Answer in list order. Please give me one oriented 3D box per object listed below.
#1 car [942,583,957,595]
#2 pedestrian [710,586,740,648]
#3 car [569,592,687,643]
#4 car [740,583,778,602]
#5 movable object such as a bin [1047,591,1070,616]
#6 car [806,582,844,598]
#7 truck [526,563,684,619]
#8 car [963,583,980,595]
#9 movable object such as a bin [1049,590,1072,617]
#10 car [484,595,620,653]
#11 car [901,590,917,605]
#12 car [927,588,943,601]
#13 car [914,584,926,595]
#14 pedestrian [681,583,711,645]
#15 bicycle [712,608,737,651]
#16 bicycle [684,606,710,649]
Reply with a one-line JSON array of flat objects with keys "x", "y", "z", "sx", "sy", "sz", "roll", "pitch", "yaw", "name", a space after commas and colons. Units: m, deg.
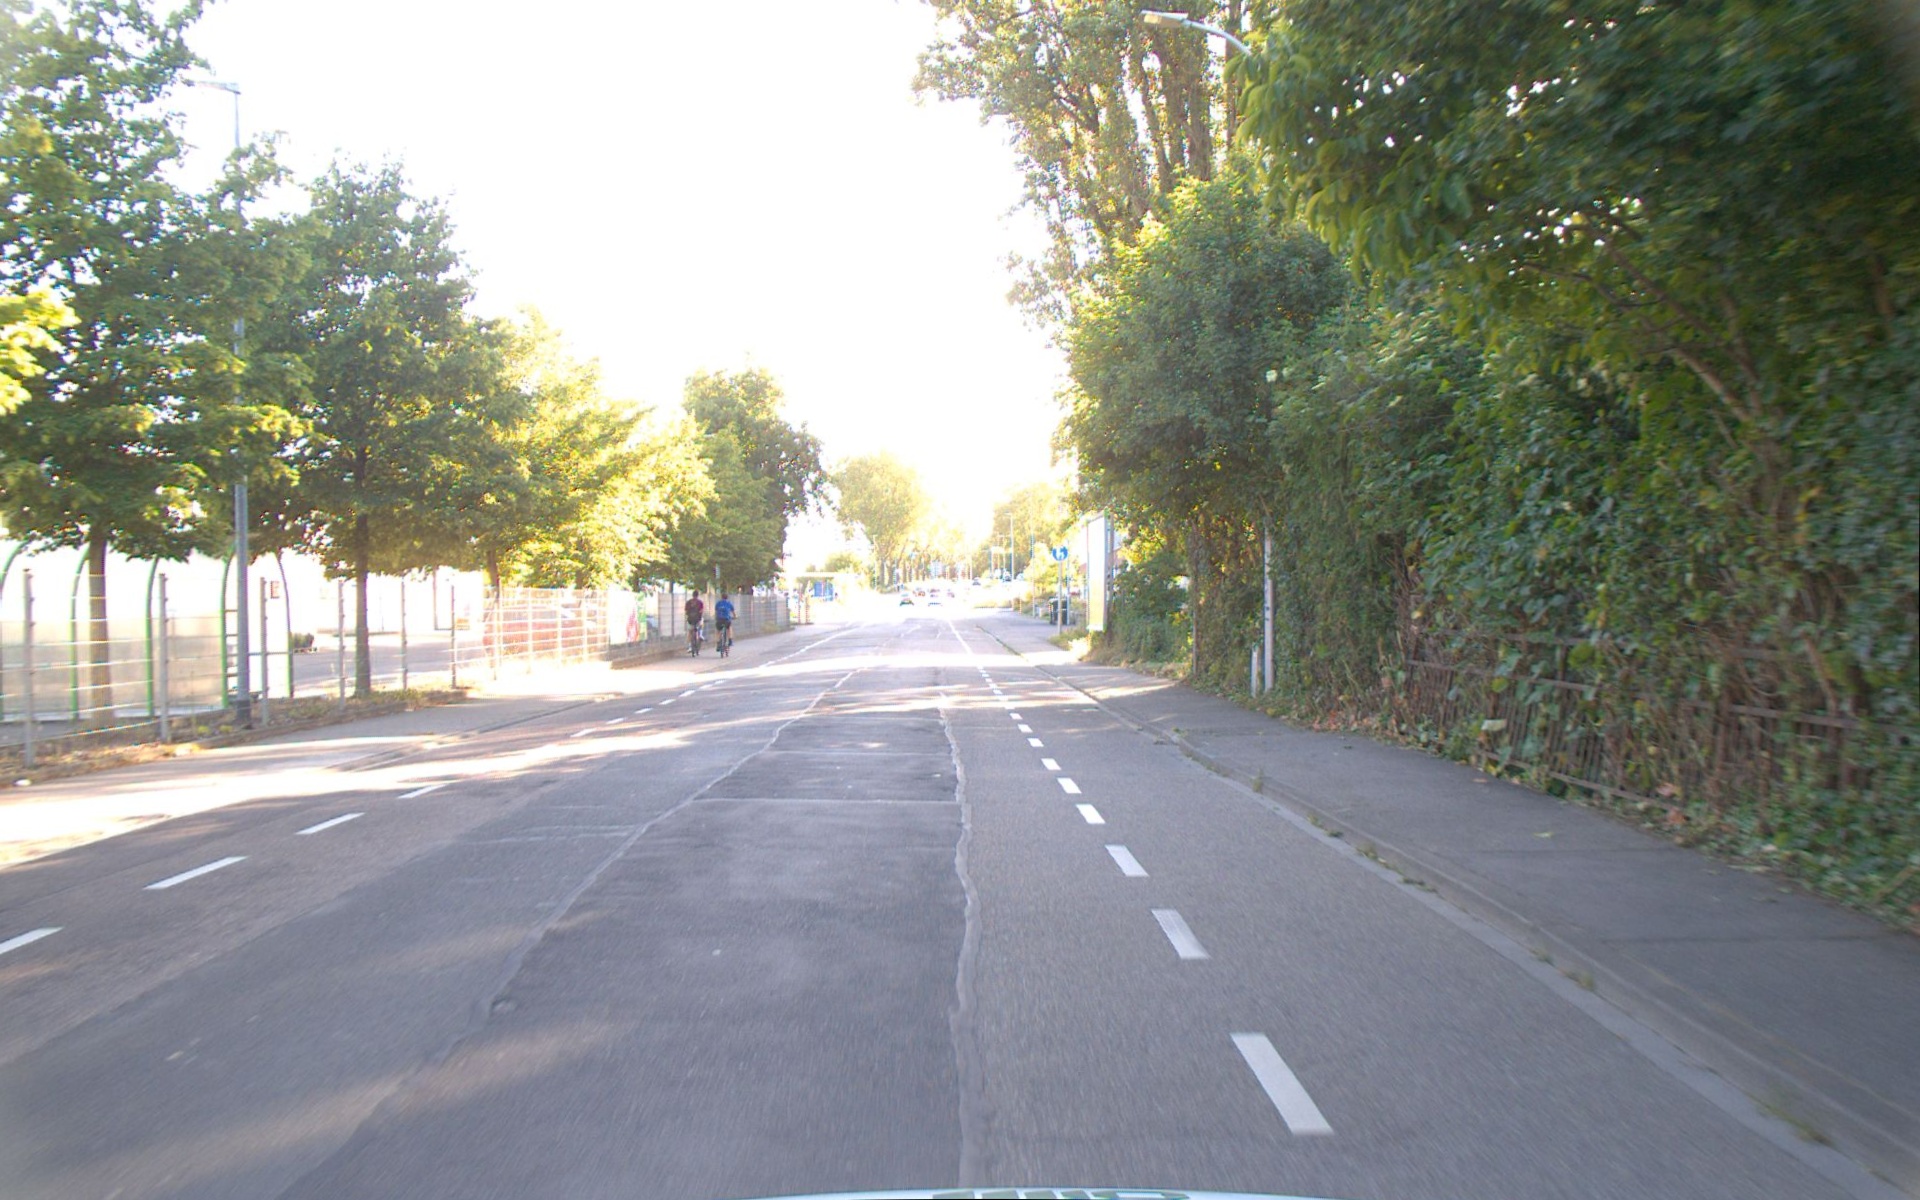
[{"x": -1.464, "y": -1.512, "z": 229.927, "sx": 2.119, "sy": 1.713, "sz": 4.000, "roll": -1, "pitch": 0, "yaw": 0, "name": "car"}, {"x": -6.765, "y": 0.489, "z": 47.716, "sx": 0.706, "sy": 1.751, "sz": 1.057, "roll": -1, "pitch": 0, "yaw": -1, "name": "pedestrian"}, {"x": -11.727, "y": 0.613, "z": 58.679, "sx": 3.813, "sy": 1.537, "sz": 1.784, "roll": -4, "pitch": 1, "yaw": -4, "name": "car"}, {"x": -27.674, "y": -1.095, "z": 227.946, "sx": 4.993, "sy": 2.502, "sz": 2.319, "roll": -1, "pitch": 0, "yaw": -2, "name": "car"}, {"x": 5.411, "y": 0.189, "z": 91.013, "sx": 1.106, "sy": 1.359, "sz": 1.345, "roll": -1, "pitch": 0, "yaw": -2, "name": "movable object such as a bin"}, {"x": -17.349, "y": -1.277, "z": 212.220, "sx": 4.747, "sy": 1.867, "sz": 1.999, "roll": -1, "pitch": 0, "yaw": -2, "name": "car"}, {"x": -23.438, "y": -0.603, "z": 109.673, "sx": 9.895, "sy": 3.678, "sz": 2.775, "roll": 0, "pitch": 0, "yaw": -2, "name": "truck"}, {"x": 1.644, "y": -1.545, "z": 234.839, "sx": 2.120, "sy": 1.713, "sz": 3.998, "roll": -1, "pitch": 0, "yaw": -2, "name": "car"}, {"x": 5.445, "y": 0.188, "z": 89.316, "sx": 1.106, "sy": 1.395, "sz": 1.345, "roll": -1, "pitch": 0, "yaw": -2, "name": "movable object such as a bin"}, {"x": -12.337, "y": 0.724, "z": 50.205, "sx": 3.652, "sy": 1.476, "sz": 1.805, "roll": -4, "pitch": 1, "yaw": -3, "name": "car"}, {"x": -5.831, "y": -0.333, "z": 189.592, "sx": 1.706, "sy": 1.552, "sz": 4.111, "roll": -4, "pitch": 1, "yaw": -1, "name": "car"}, {"x": -2.789, "y": -0.641, "z": 185.619, "sx": 1.753, "sy": 1.445, "sz": 4.001, "roll": 0, "pitch": 1, "yaw": 1, "name": "car"}, {"x": -5.866, "y": -1.592, "z": 242.927, "sx": 1.620, "sy": 1.529, "sz": 4.000, "roll": -2, "pitch": 0, "yaw": 0, "name": "car"}, {"x": -7.613, "y": 0.404, "z": 47.718, "sx": 0.706, "sy": 1.751, "sz": 1.057, "roll": -1, "pitch": 0, "yaw": -1, "name": "pedestrian"}, {"x": -6.785, "y": 0.831, "z": 47.648, "sx": 0.437, "sy": 1.168, "sz": 2.200, "roll": 1, "pitch": 0, "yaw": -1, "name": "bicycle"}, {"x": -7.569, "y": 0.782, "z": 47.654, "sx": 0.460, "sy": 1.168, "sz": 1.869, "roll": 1, "pitch": 0, "yaw": -1, "name": "bicycle"}]
